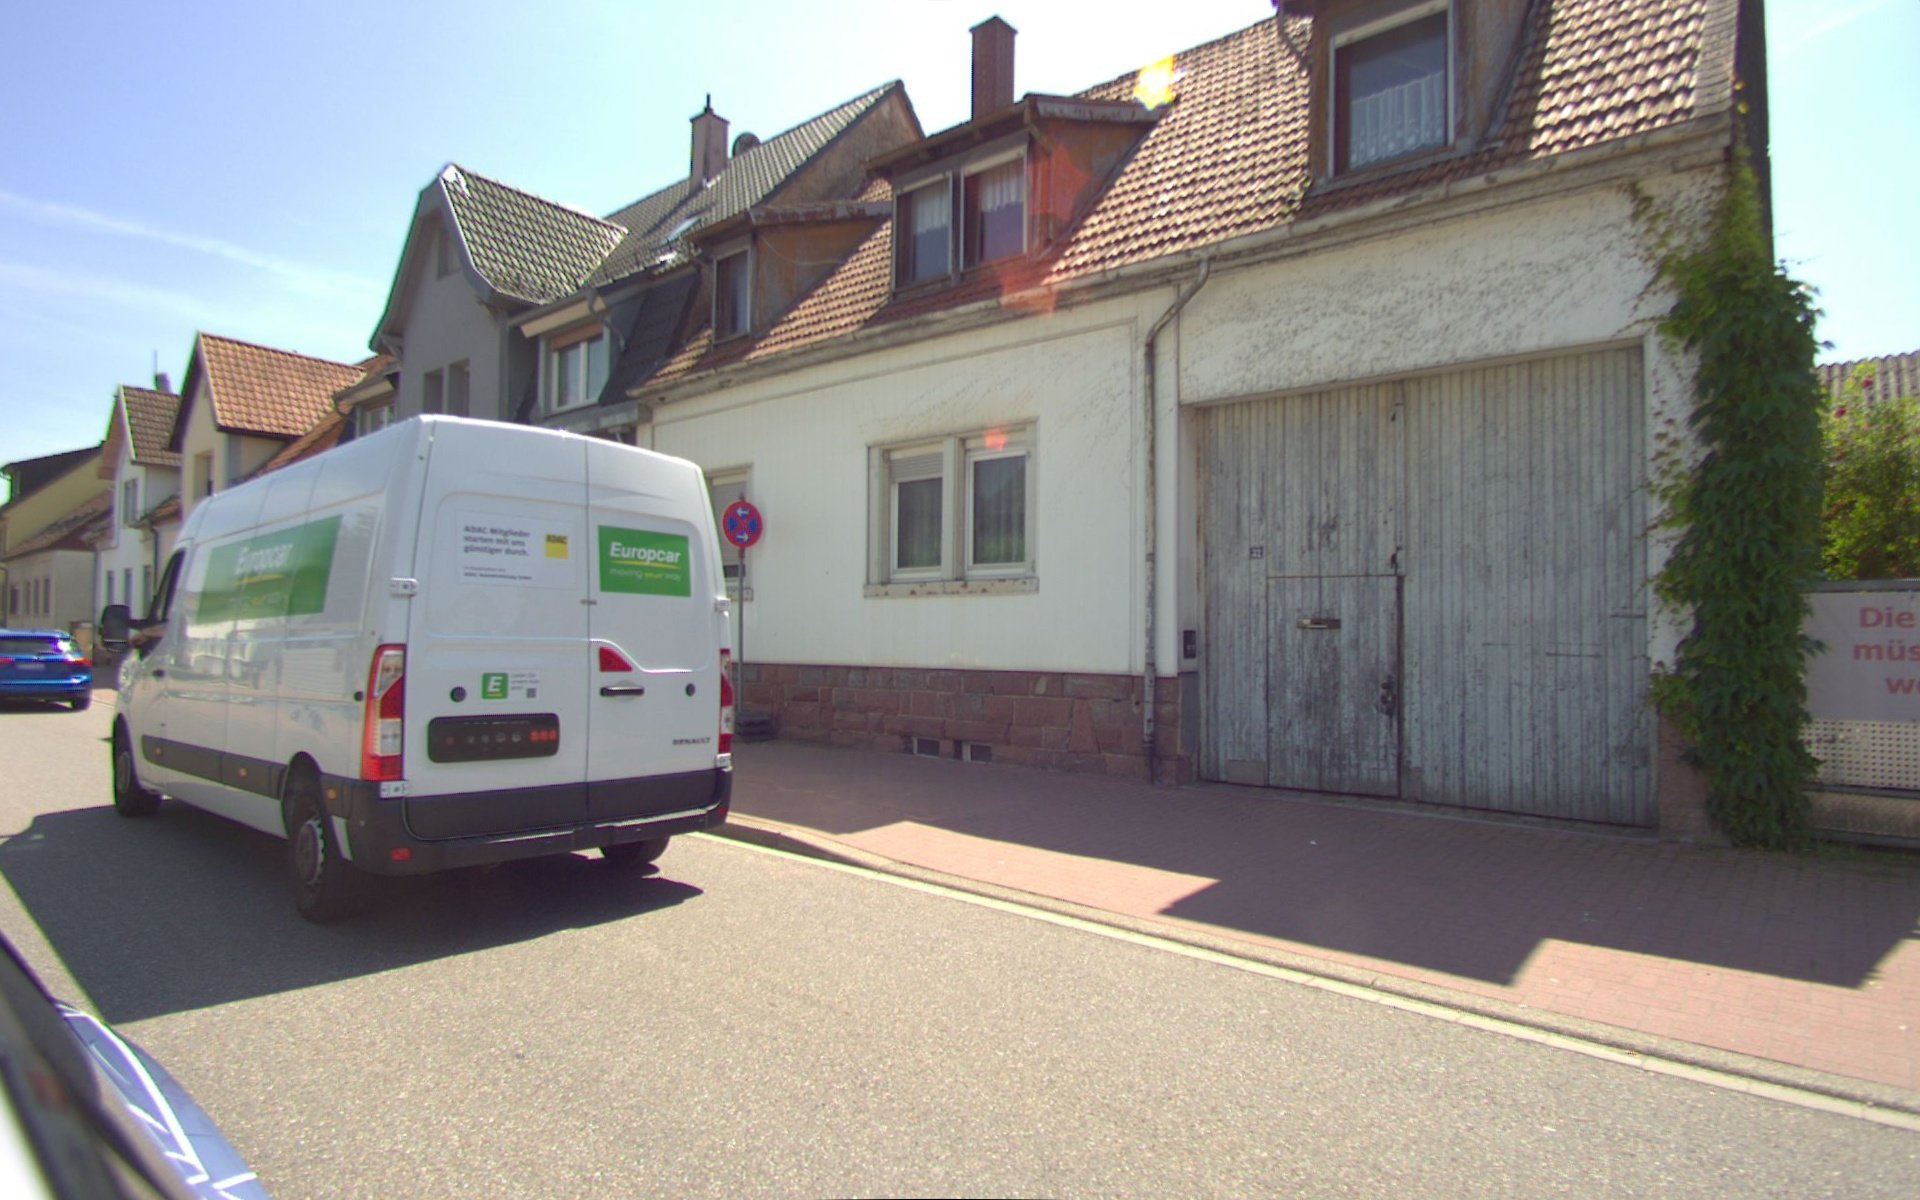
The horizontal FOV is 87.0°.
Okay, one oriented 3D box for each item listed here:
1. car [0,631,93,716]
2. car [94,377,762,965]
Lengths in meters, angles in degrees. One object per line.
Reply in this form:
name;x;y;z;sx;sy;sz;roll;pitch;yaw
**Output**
car;-17.934;1.318;19.029;4.395;1.465;1.629;-1;-4;39
car;-4.089;0.380;7.034;6.065;2.480;2.008;-1;-3;41
